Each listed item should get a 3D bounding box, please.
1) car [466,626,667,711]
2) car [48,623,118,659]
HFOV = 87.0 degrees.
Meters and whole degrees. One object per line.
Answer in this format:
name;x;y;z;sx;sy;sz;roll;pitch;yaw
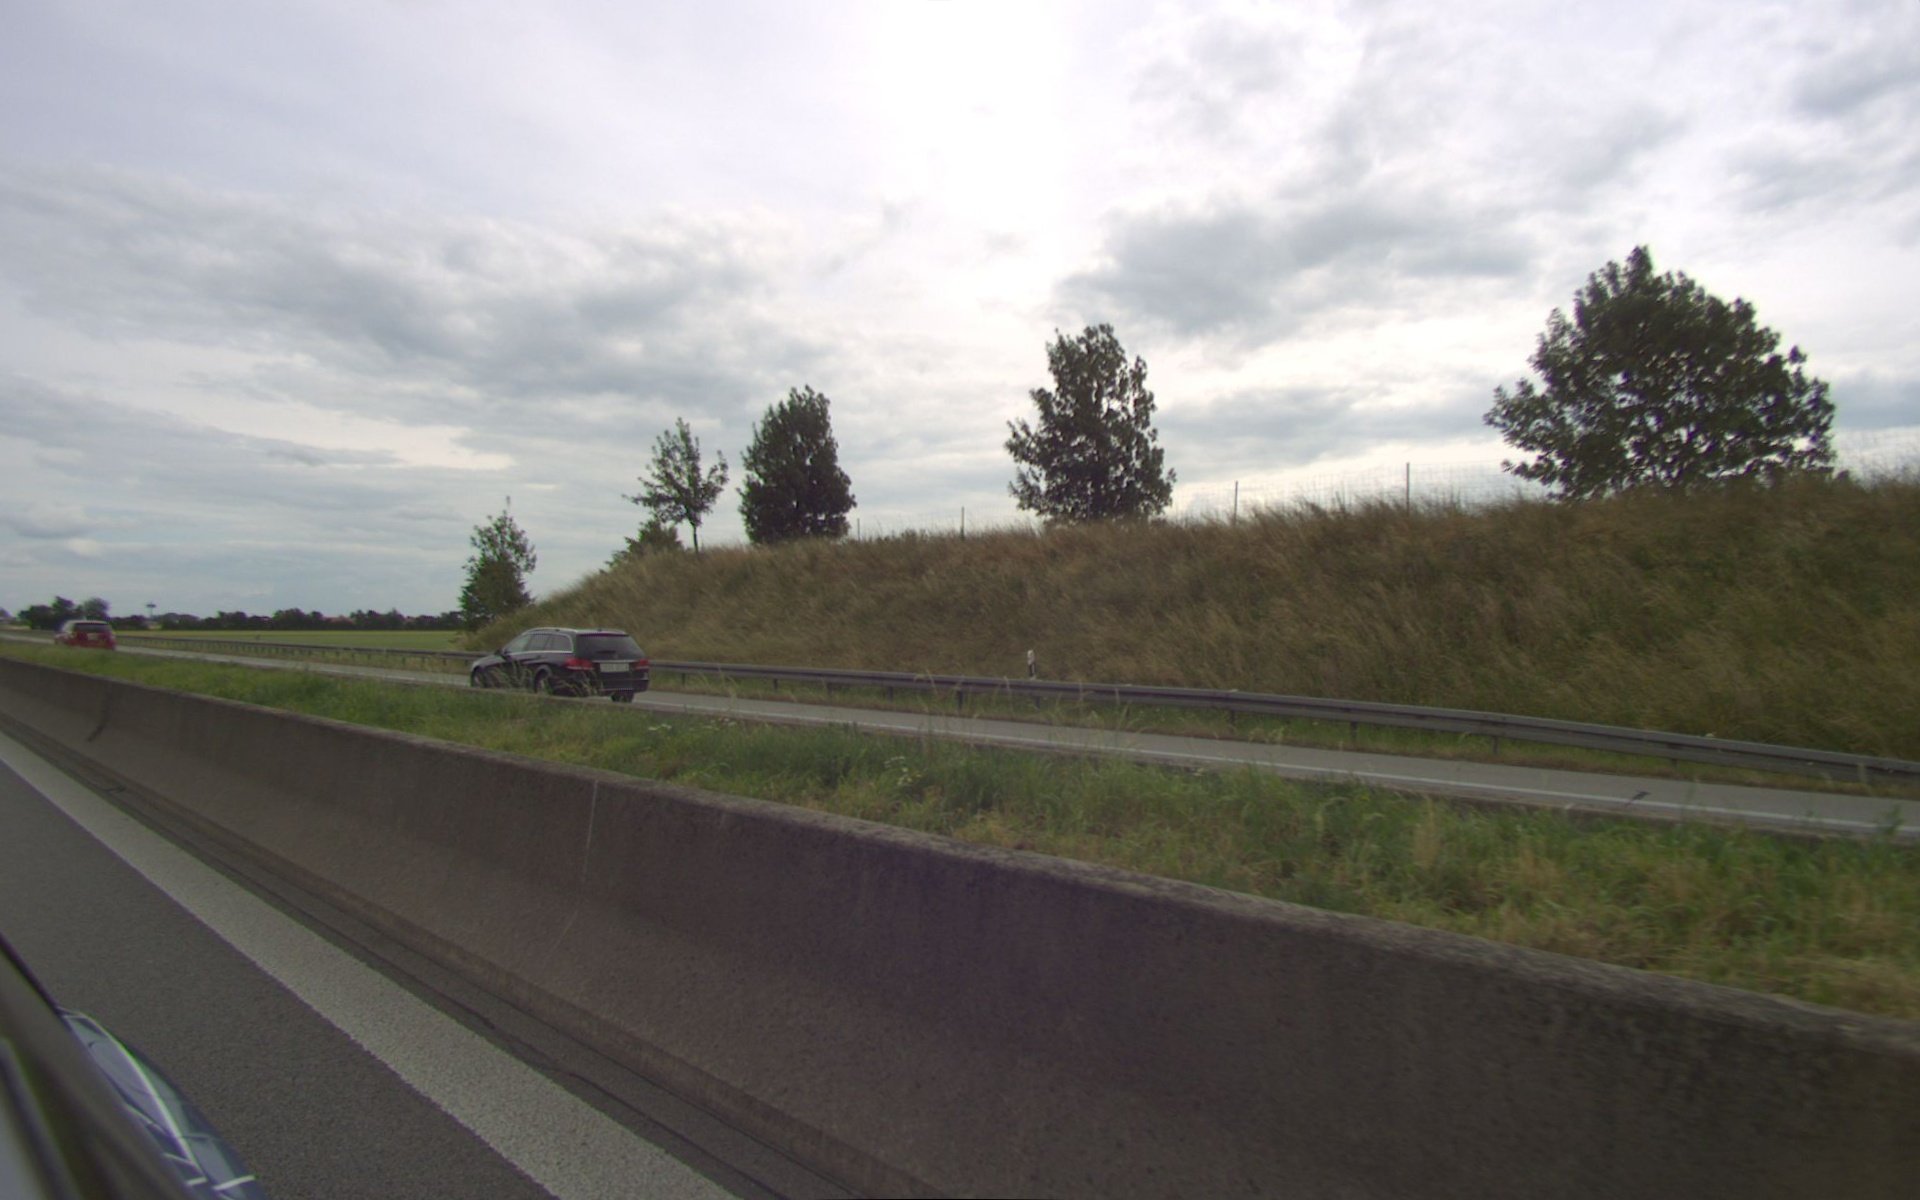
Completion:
car;-7.975;1.316;20.301;4.578;1.509;1.826;-1;-4;41
car;-40.962;1.905;47.245;4.359;1.583;1.826;-1;-3;41
